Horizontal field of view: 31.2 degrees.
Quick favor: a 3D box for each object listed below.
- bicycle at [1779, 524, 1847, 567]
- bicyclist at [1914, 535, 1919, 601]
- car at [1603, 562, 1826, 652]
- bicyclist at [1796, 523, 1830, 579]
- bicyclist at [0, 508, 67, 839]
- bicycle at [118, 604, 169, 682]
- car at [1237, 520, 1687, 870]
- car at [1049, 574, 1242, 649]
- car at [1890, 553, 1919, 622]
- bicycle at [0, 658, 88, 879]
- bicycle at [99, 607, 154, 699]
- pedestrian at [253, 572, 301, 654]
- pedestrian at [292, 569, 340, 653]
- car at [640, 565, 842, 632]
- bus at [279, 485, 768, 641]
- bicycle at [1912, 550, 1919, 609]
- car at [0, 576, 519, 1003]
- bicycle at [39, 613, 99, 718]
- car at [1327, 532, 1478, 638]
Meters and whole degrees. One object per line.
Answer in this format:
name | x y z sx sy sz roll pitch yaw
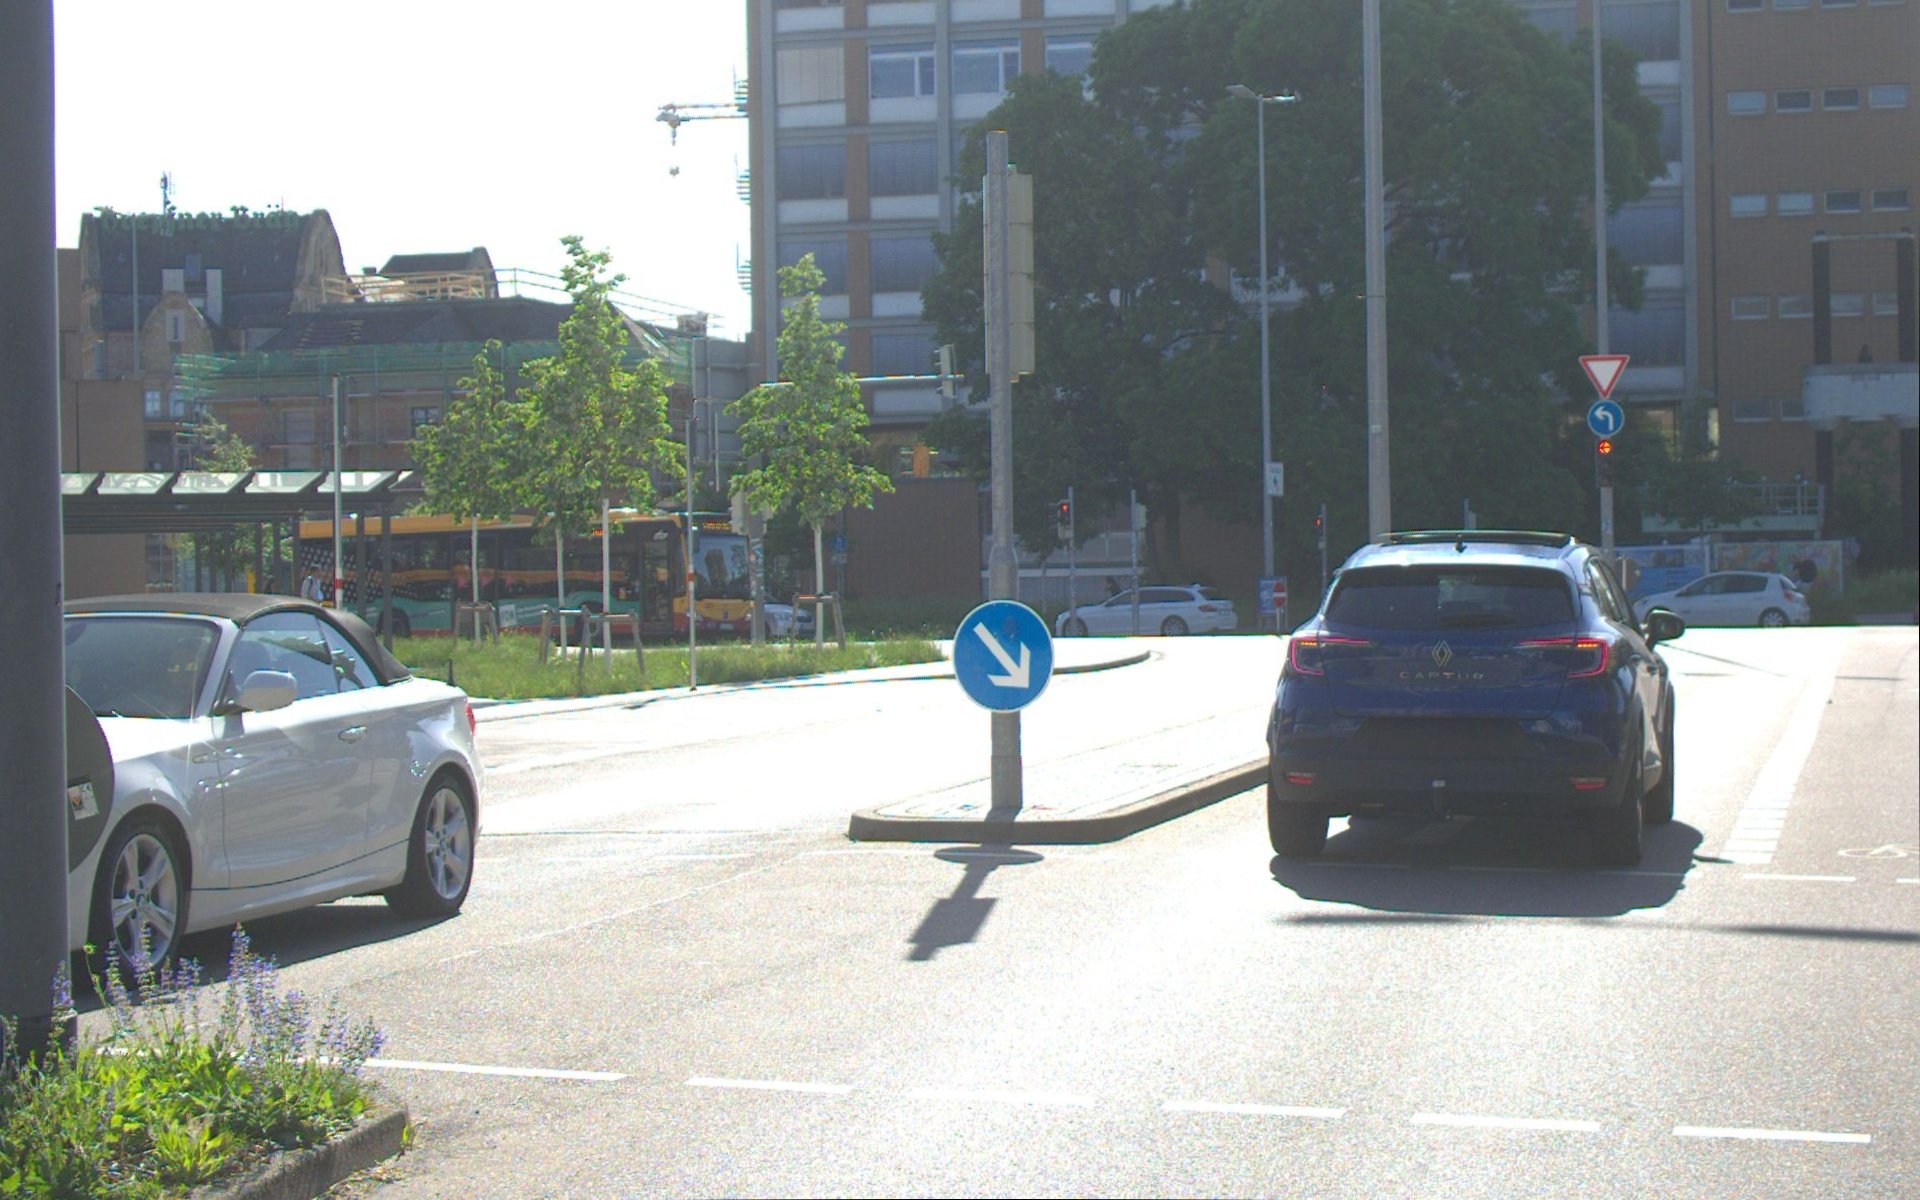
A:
bicycle | 22.123 -1.413 89.173 1.667 1.089 0.610 -1 1 17
bicyclist | 26.604 -0.878 94.139 0.882 1.791 1.160 0 -1 19
car | 17.242 0.167 78.606 4.656 2.007 1.997 0 -1 25
bicyclist | 22.119 -1.280 89.173 0.817 1.439 0.620 -1 1 17
bicyclist | -5.172 0.373 17.485 0.880 1.639 1.060 -1 0 5
bicycle | -11.618 0.618 48.895 0.580 1.084 1.872 0 -1 -17
car | 2.698 0.422 17.804 1.824 1.594 3.656 1 0 16
car | 4.825 0.315 89.650 4.659 1.894 1.996 0 -1 32
car | 23.724 -0.288 79.688 3.900 1.581 1.877 0 -1 26
bicycle | -5.159 0.863 17.450 0.773 1.077 2.035 -1 0 5
bicycle | -10.077 0.640 41.541 0.580 1.084 2.059 0 -1 -15
pedestrian | -14.641 0.287 73.697 0.655 1.735 0.787 0 -1 31
pedestrian | -13.487 0.236 72.007 0.626 1.735 0.787 0 -1 31
car | -5.131 -0.011 80.381 4.405 1.516 1.966 0 -1 32
bus | -10.301 -0.763 79.805 12.429 3.384 2.877 0 -1 34
bicycle | 26.599 -0.552 94.141 0.882 1.536 2.808 0 -1 19
car | -3.392 0.671 13.431 1.801 1.388 4.090 -4 -1 15
bicycle | -9.222 0.671 35.562 0.580 1.054 1.817 0 -1 -15
car | 7.128 -0.265 55.037 1.819 1.563 4.247 -2 0 14
